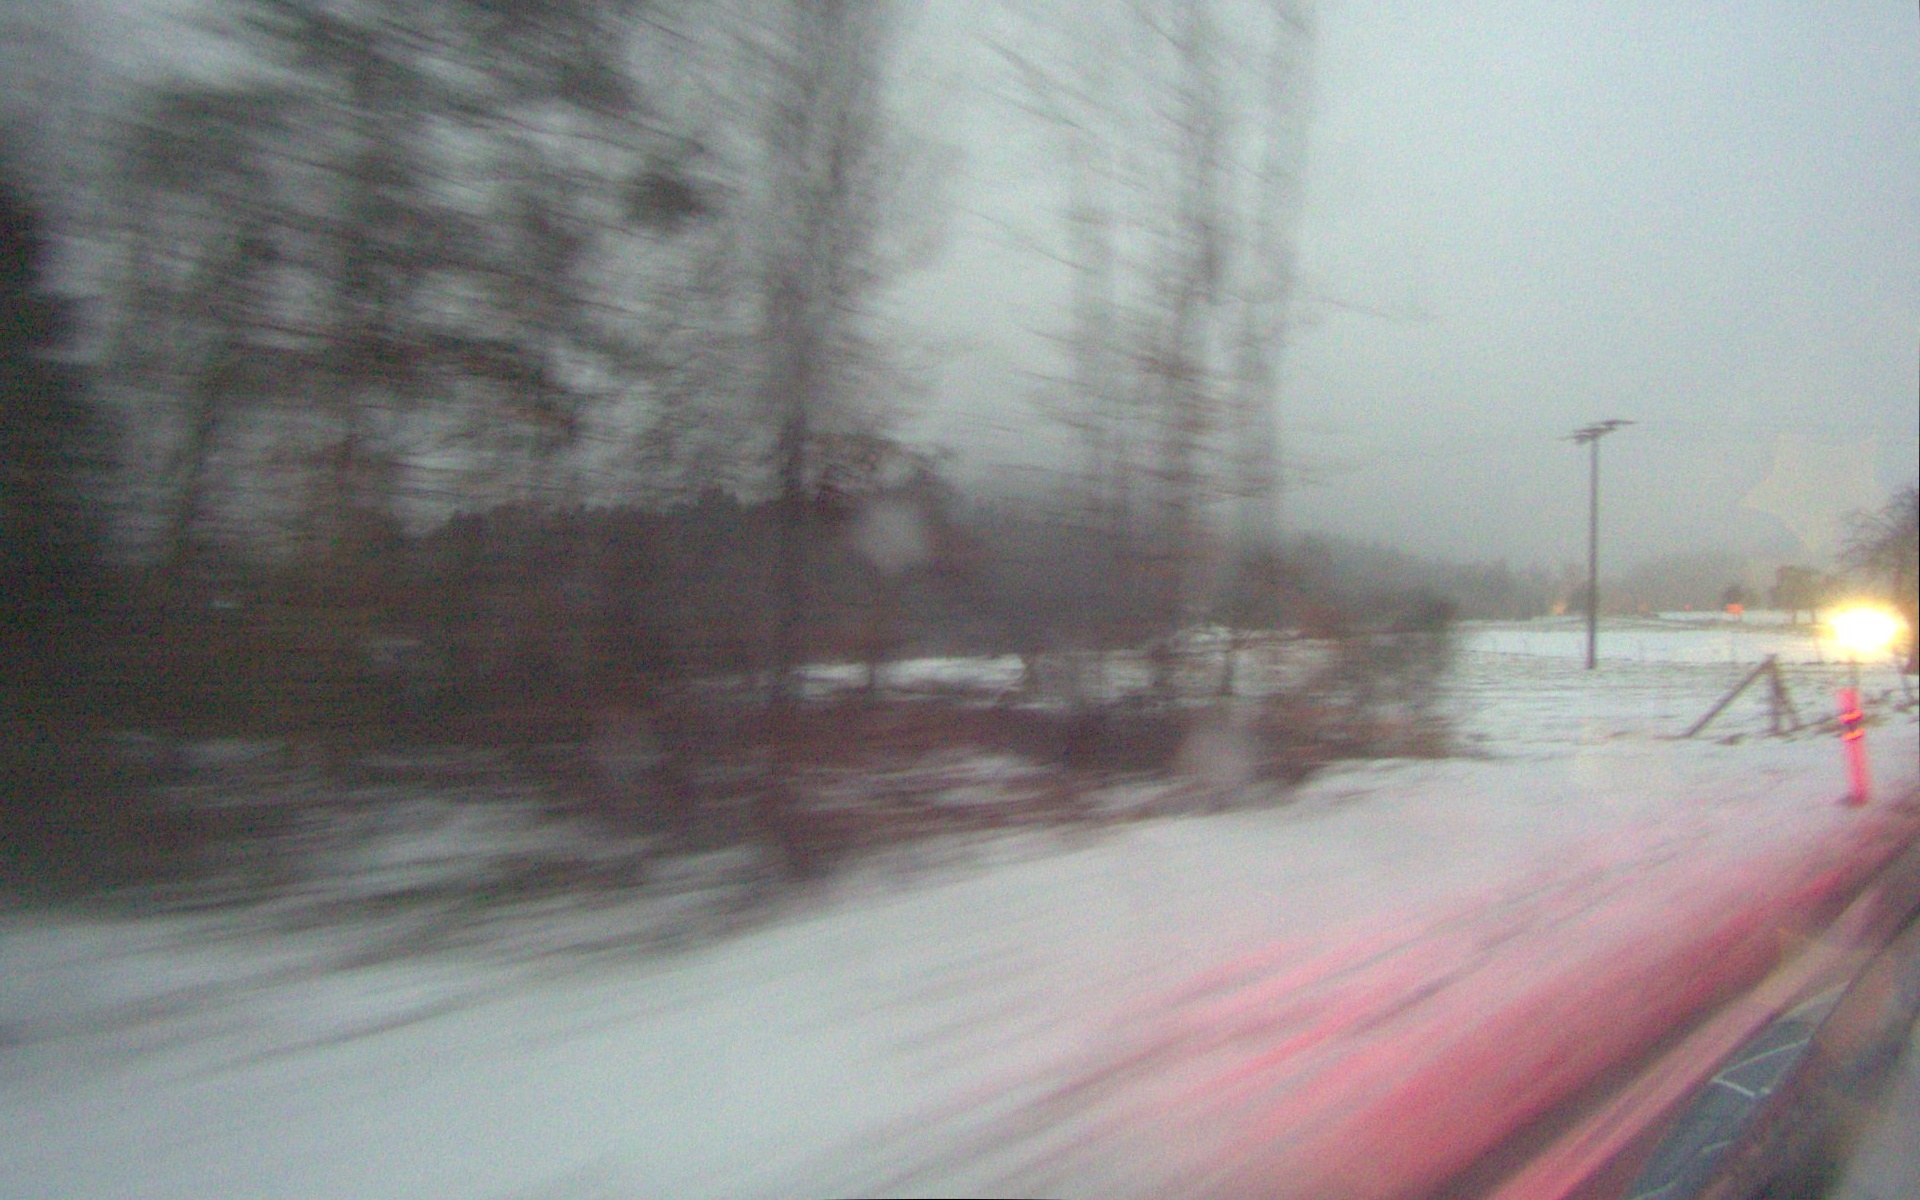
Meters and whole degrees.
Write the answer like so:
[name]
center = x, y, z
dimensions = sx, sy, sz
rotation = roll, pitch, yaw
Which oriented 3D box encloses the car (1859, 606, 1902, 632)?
[car]
center = 81.092, 1.650, 89.222
dimensions = 1.984, 2.039, 3.955
rotation = -4, -2, 31
